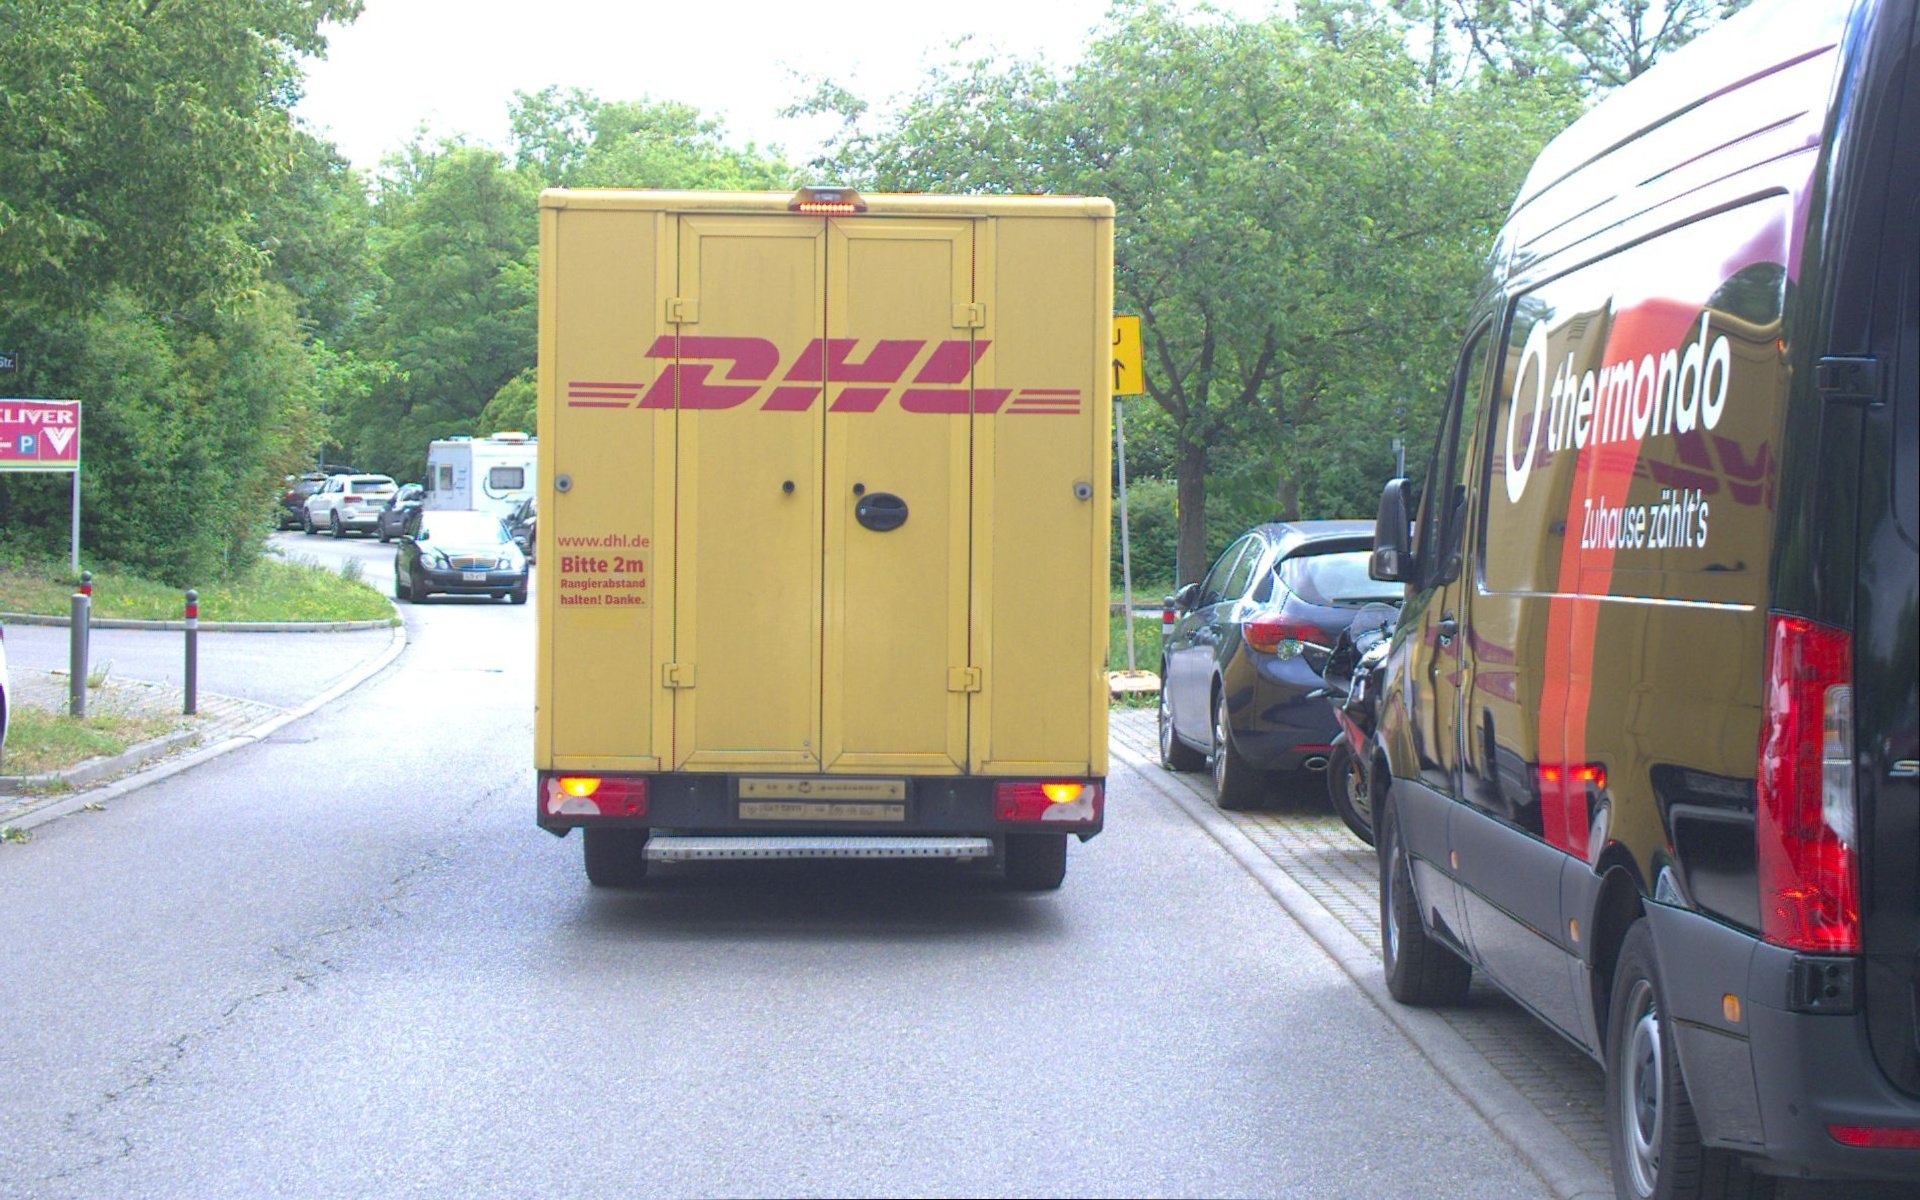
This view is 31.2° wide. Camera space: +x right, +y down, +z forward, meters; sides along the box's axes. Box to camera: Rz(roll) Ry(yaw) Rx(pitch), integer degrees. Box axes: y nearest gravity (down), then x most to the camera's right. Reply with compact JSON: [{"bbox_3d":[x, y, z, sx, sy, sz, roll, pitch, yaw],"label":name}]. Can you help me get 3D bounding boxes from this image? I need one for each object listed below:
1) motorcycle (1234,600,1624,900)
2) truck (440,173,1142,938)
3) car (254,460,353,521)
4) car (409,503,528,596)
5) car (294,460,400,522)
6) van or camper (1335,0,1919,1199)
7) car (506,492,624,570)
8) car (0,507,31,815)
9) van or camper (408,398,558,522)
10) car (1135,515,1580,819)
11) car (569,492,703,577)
[{"bbox_3d":[1.926,0.594,14.502,0.898,1.107,2.086,2,1,-14],"label":"motorcycle"},{"bbox_3d":[-0.747,-0.263,15.582,2.466,2.693,6.825,0,2,-3],"label":"truck"},{"bbox_3d":[-19.474,-3.258,101.856,1.843,1.608,4.001,1,3,-26],"label":"car"},{"bbox_3d":[-7.803,-0.825,54.808,1.674,1.350,3.970,2,2,-6],"label":"car"},{"bbox_3d":[-17.210,-3.069,96.412,1.843,1.524,4.001,1,3,-26],"label":"car"},{"bbox_3d":[2.245,-0.001,8.318,1.993,2.514,5.471,0,1,-1],"label":"van or camper"},{"bbox_3d":[-8.907,-1.569,77.323,1.843,1.524,4.002,1,3,-18],"label":"car"},{"bbox_3d":[-5.257,0.299,14.365,1.674,1.431,3.970,2,2,-1],"label":"car"},{"bbox_3d":[-11.679,-3.412,83.894,2.323,2.862,5.262,1,2,-23],"label":"van or camper"},{"bbox_3d":[2.029,0.297,18.622,1.728,1.428,3.969,1,1,-3],"label":"car"},{"bbox_3d":[-6.630,-1.356,70.031,1.843,1.524,4.002,1,3,-18],"label":"car"}]
